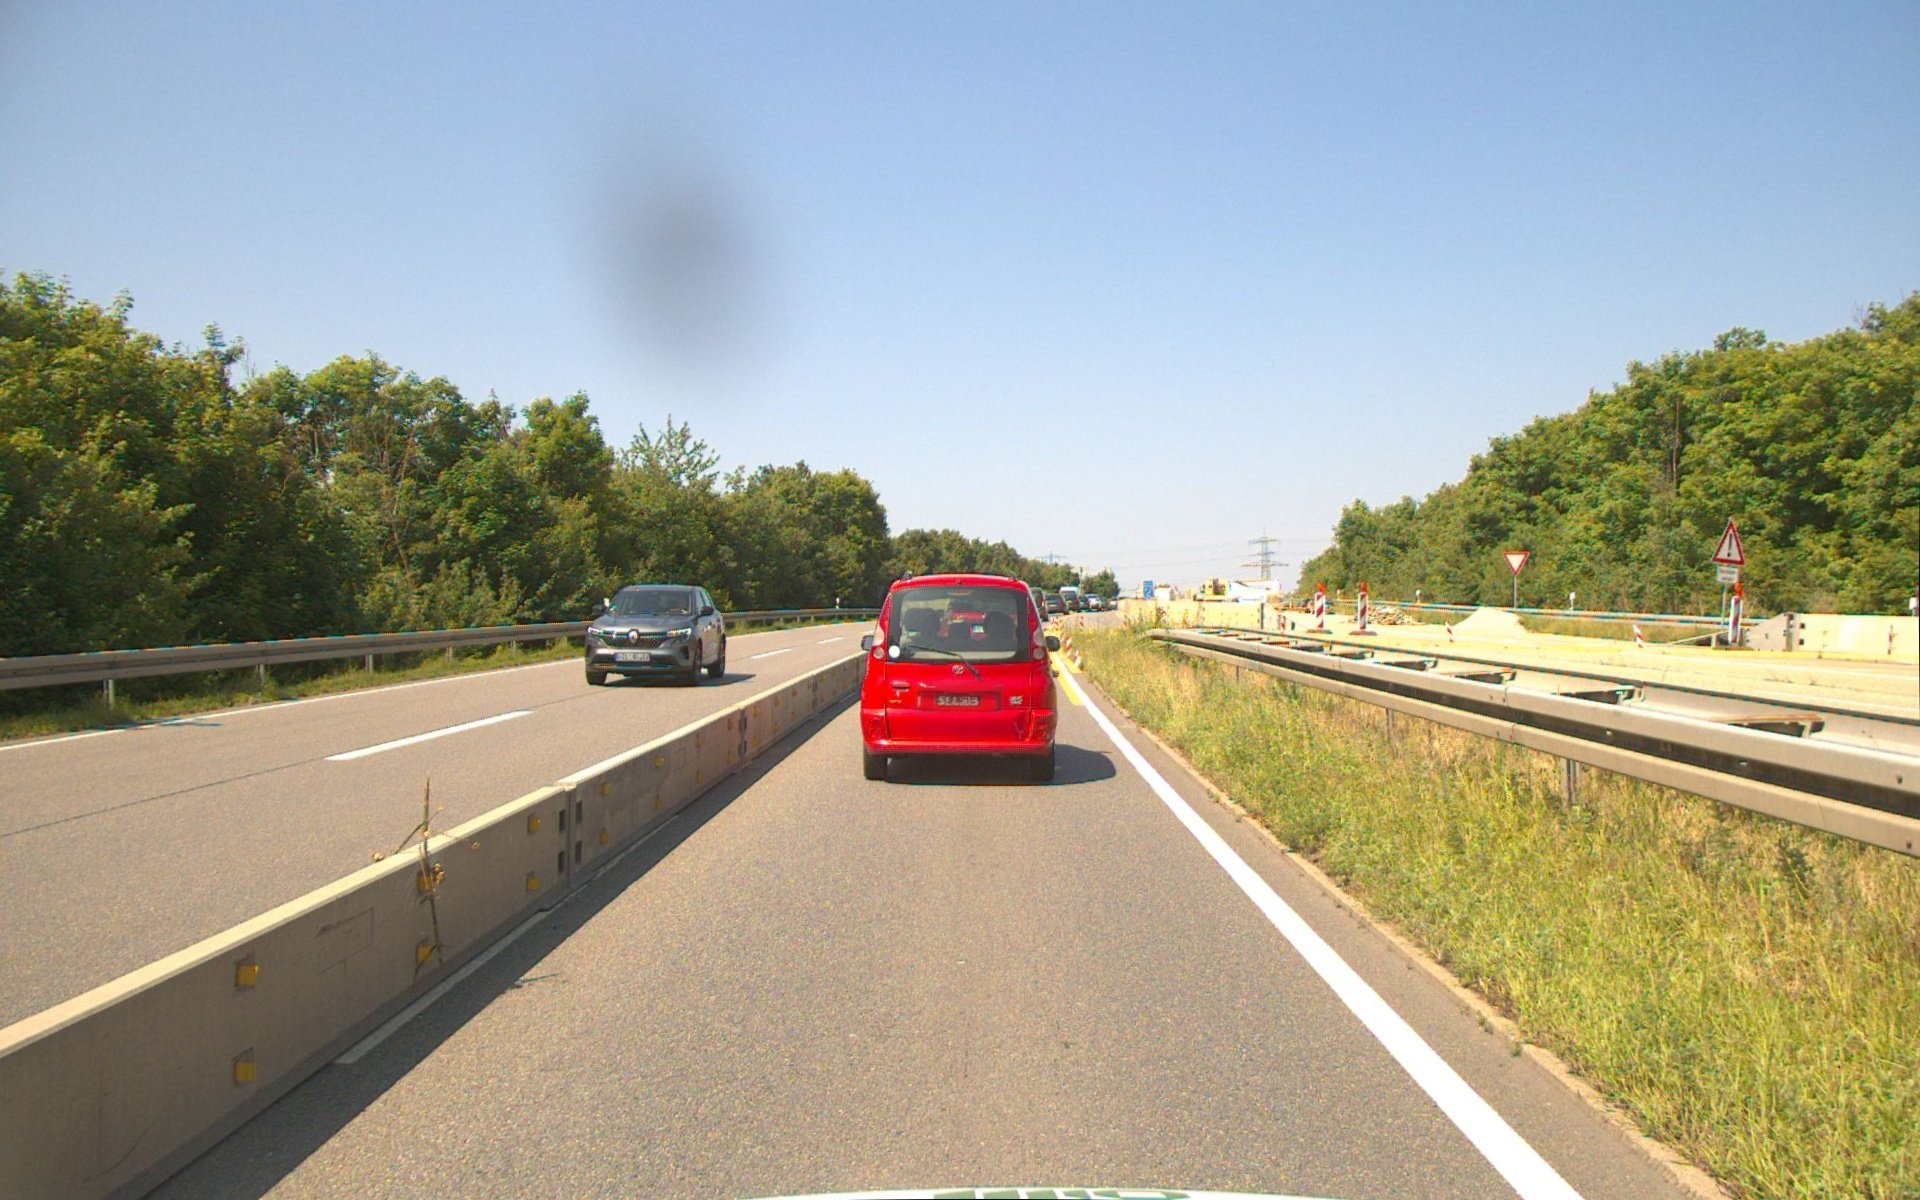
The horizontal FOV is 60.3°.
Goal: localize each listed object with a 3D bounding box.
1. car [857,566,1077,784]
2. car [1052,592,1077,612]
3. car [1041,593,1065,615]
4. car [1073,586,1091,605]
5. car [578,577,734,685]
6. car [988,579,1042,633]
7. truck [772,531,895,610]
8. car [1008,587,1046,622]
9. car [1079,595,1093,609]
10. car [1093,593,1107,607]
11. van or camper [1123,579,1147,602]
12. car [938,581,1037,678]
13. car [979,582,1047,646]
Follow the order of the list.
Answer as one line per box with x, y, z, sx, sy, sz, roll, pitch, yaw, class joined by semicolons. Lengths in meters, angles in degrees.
0.036;0.589;14.961;1.716;1.702;3.999;0;0;-1;car
8.746;0.168;138.378;1.951;1.612;4.002;0;0;5;car
6.456;0.263;114.946;1.471;1.476;3.325;-1;0;1;car
11.222;-0.435;151.829;1.471;1.767;3.170;0;0;1;car
-5.062;0.480;28.074;1.819;1.667;4.384;1;0;0;car
2.157;0.228;65.937;1.953;2.039;3.999;1;0;-1;car
-9.056;-2.108;119.321;8.441;5.469;3.390;-1;0;2;truck
3.564;0.214;88.626;1.952;1.780;4.001;1;0;2;car
12.782;0.203;168.151;1.391;1.321;2.880;0;0;3;car
15.392;-0.022;181.932;1.470;1.476;3.171;0;0;3;car
21.085;-1.141;198.981;2.281;2.754;4.592;0;0;-1;van or camper
0.544;0.528;31.970;1.792;1.752;4.001;0;0;1;car
1.621;0.395;50.126;1.952;1.870;4.001;0;0;2;car
